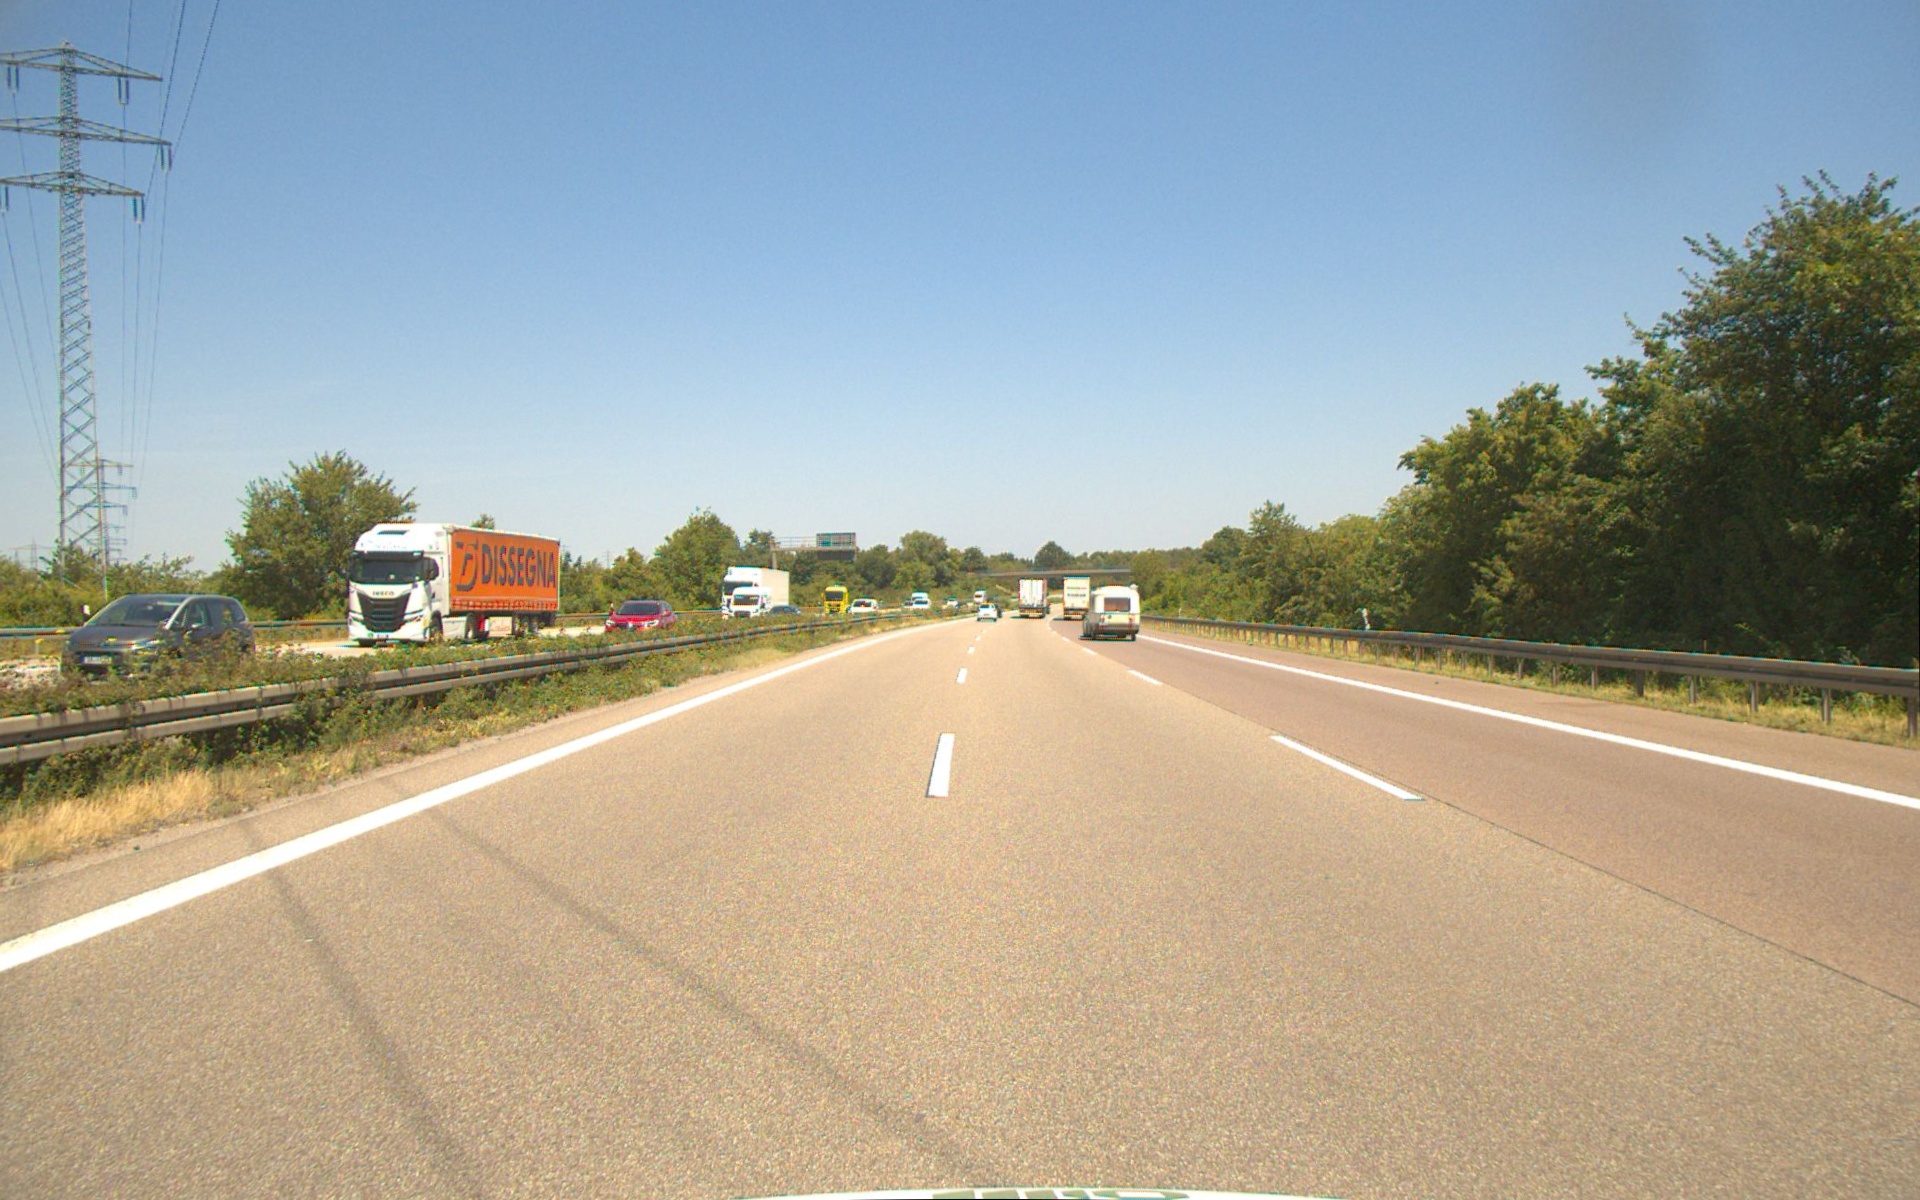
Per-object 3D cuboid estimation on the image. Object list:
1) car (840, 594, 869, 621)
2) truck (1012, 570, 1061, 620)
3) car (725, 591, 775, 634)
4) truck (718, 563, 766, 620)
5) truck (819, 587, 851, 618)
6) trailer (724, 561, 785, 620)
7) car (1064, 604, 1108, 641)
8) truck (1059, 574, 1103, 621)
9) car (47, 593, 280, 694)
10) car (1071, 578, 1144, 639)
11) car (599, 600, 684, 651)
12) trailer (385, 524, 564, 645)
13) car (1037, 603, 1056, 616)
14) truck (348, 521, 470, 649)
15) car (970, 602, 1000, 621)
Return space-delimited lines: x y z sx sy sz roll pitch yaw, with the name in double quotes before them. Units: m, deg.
"car" -8.341 0.580 130.975 1.952 1.973 5.338 0 1 0
"truck" 8.268 -0.662 175.916 3.588 5.106 16.032 0 1 8
"car" -12.905 0.759 102.005 1.952 2.514 6.492 0 0 2
"truck" -16.136 -0.612 122.759 2.772 4.152 5.166 0 0 1
"truck" -13.369 0.246 177.376 2.469 3.207 9.668 0 0 1
"trailer" -16.001 -0.691 129.614 2.776 4.332 13.639 0 0 1
"car" 5.725 0.997 75.778 1.847 1.542 5.382 1 1 3
"truck" 12.138 -0.393 164.497 3.113 4.379 16.032 0 1 9
"car" -14.544 0.728 30.568 1.953 1.702 4.929 0 0 -1
"car" 6.131 0.306 69.427 2.393 2.362 5.320 -1 1 -2
"car" -10.389 0.803 54.208 1.953 1.576 4.447 0 0 -1
"trailer" -18.162 -0.651 63.151 2.454 4.113 13.590 0 1 2
"car" 11.323 1.188 215.452 1.789 1.574 4.323 1 1 12
"truck" -18.386 -0.530 55.414 2.430 4.089 4.603 0 1 2
"car" 2.196 1.006 143.761 1.789 1.574 4.323 1 1 12
